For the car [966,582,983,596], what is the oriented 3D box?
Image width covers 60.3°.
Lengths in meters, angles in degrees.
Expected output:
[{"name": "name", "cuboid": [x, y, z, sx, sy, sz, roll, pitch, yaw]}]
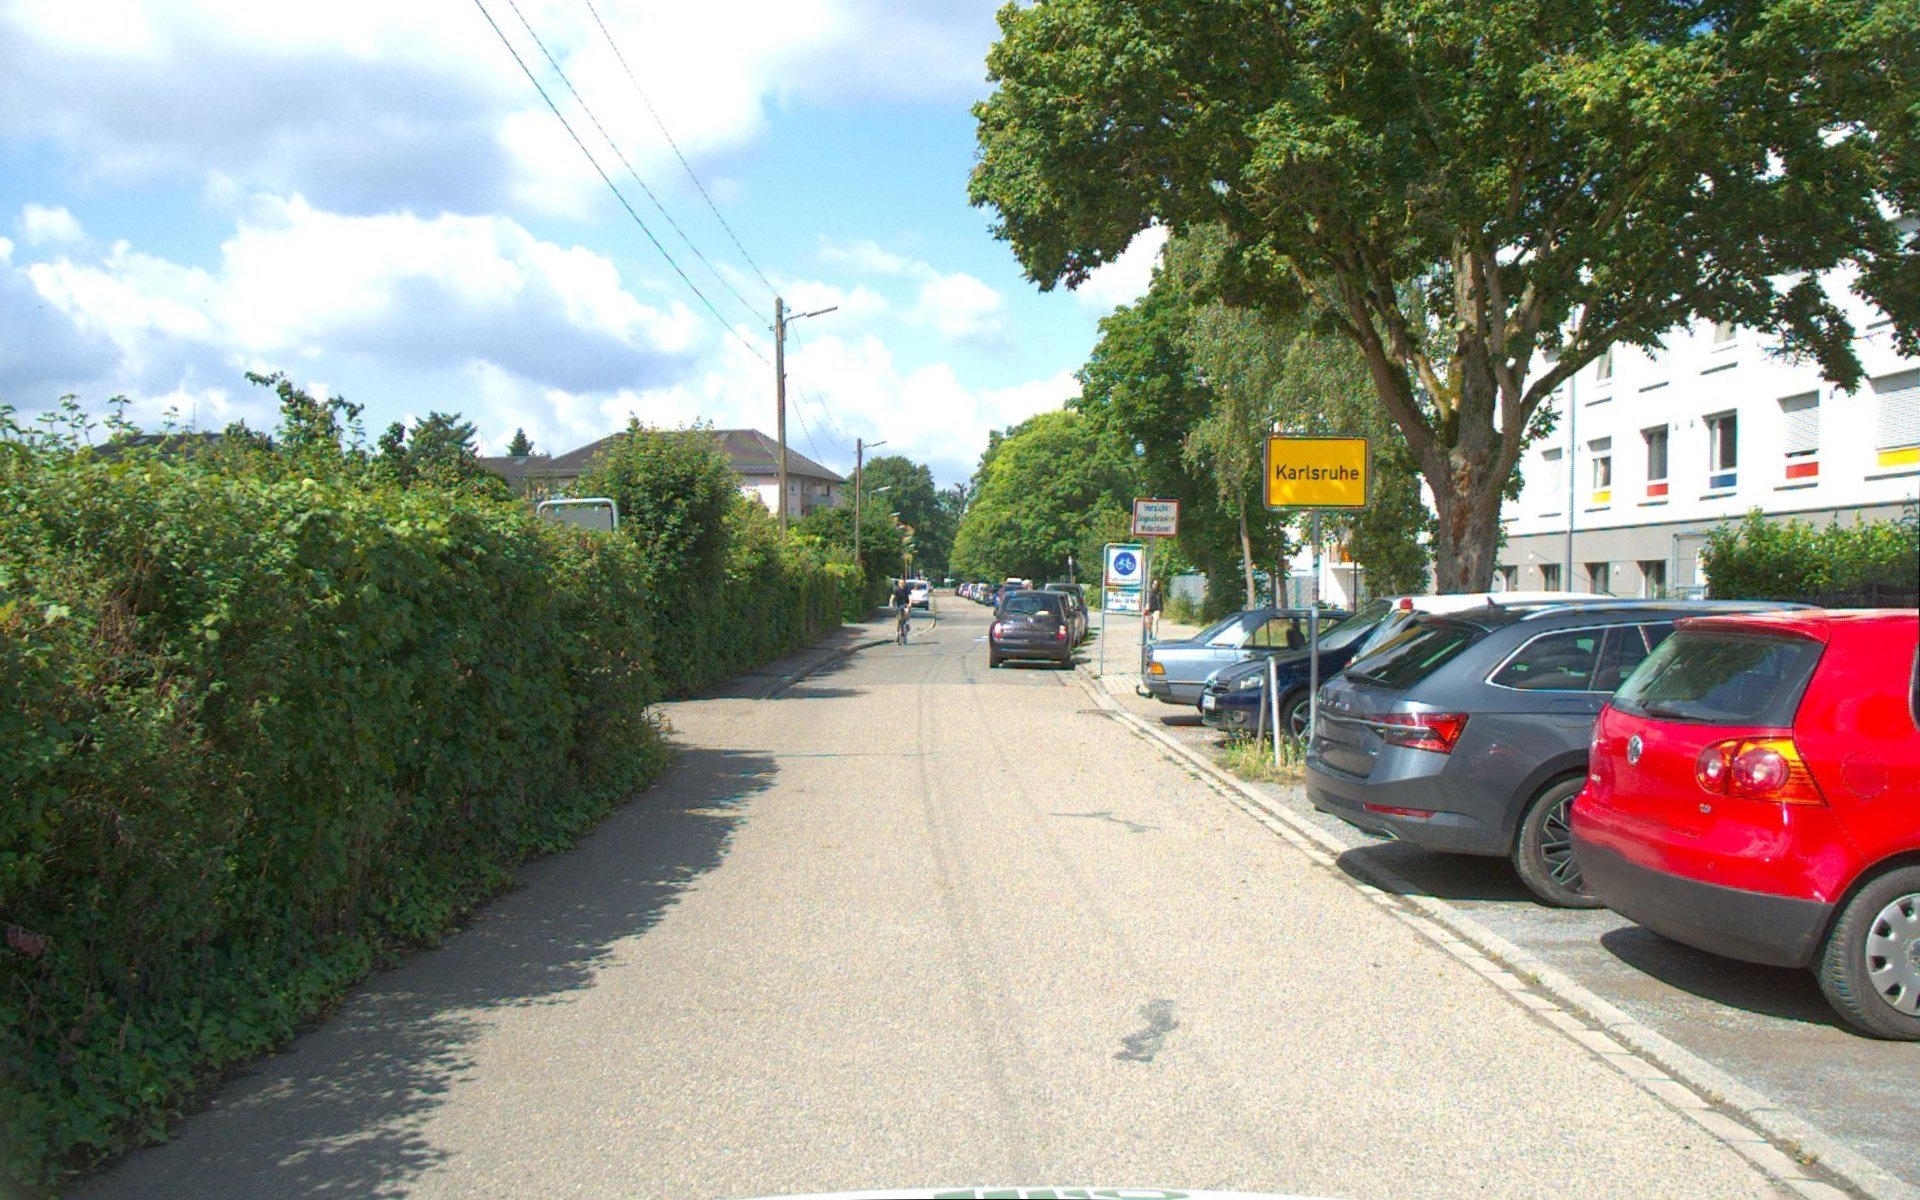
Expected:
[{"name": "car", "cuboid": [1.714, -1.289, 196.465, 1.813, 1.646, 4.002, 2, 0, 4]}]

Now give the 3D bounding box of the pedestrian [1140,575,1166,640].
[{"name": "pedestrian", "cuboid": [5.383, 0.194, 46.020, 0.597, 1.776, 0.722, 2, 0, 12]}]

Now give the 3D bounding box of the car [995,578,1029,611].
[{"name": "car", "cuboid": [3.207, -0.344, 102.335, 2.015, 1.960, 4.542, 2, 0, 1]}]

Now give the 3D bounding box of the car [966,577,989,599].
[{"name": "car", "cuboid": [1.602, -1.089, 151.907, 2.015, 1.996, 4.542, 2, 0, 1]}]

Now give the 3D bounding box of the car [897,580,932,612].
[{"name": "car", "cuboid": [-2.782, -0.236, 102.029, 1.863, 1.846, 4.001, 2, 0, 1]}]

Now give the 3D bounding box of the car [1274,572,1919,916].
[{"name": "car", "cuboid": [4.141, 0.731, 9.009, 4.457, 1.606, 1.808, 2, 0, -3]}]

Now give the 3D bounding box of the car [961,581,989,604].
[{"name": "car", "cuboid": [1.182, -0.560, 126.816, 2.015, 1.681, 4.542, 2, 0, 1]}]

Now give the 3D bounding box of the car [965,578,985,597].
[{"name": "car", "cuboid": [1.649, -1.365, 181.637, 1.953, 2.049, 3.999, 2, 0, -2]}]

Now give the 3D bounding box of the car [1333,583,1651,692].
[{"name": "car", "cuboid": [7.852, 0.539, 24.656, 4.155, 1.455, 1.758, -1, 0, -2]}]

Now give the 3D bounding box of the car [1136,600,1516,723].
[{"name": "car", "cuboid": [4.317, 0.717, 20.030, 4.267, 1.416, 1.719, 0, 0, 3]}]

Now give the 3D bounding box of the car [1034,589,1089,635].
[{"name": "car", "cuboid": [3.406, 0.383, 55.903, 1.629, 1.460, 3.541, 2, 0, 0]}]

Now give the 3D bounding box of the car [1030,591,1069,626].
[{"name": "car", "cuboid": [4.142, 0.391, 76.866, 1.644, 1.545, 4.001, 2, 0, 1]}]

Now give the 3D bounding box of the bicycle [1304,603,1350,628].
[{"name": "bicycle", "cuboid": [17.253, 0.725, 77.811, 2.004, 1.098, 0.688, -1, 0, 2]}]

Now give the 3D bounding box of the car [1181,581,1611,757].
[{"name": "car", "cuboid": [4.354, 0.666, 16.921, 3.854, 1.586, 1.867, 2, 0, -3]}]

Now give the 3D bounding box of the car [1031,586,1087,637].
[{"name": "car", "cuboid": [3.092, 0.342, 51.463, 1.628, 1.464, 3.746, 2, 0, 4]}]

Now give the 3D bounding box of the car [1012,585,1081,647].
[{"name": "car", "cuboid": [2.392, 0.411, 45.135, 1.628, 1.579, 3.640, 2, 0, 6]}]

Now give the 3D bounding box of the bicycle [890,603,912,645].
[{"name": "bicycle", "cuboid": [-1.698, 0.669, 47.765, 0.507, 1.170, 1.827, -1, 0, 1]}]

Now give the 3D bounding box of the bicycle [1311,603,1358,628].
[{"name": "bicycle", "cuboid": [17.262, 0.713, 76.302, 2.045, 1.139, 0.625, -1, 0, 3]}]

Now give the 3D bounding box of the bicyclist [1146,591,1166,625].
[{"name": "bicyclist", "cuboid": [10.676, 0.433, 89.983, 0.770, 1.817, 0.892, 2, 0, 31]}]

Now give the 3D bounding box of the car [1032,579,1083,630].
[{"name": "car", "cuboid": [3.746, 0.148, 63.260, 1.835, 1.837, 3.434, 2, 0, 4]}]

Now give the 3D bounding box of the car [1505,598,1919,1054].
[{"name": "car", "cuboid": [4.329, 0.772, 6.603, 3.732, 1.559, 1.761, 0, 0, -1]}]

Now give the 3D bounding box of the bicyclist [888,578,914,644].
[{"name": "bicyclist", "cuboid": [-1.702, 0.315, 47.692, 0.645, 1.884, 1.043, -1, 0, 1]}]

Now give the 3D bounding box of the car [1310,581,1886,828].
[{"name": "car", "cuboid": [4.509, 0.710, 12.004, 3.503, 1.576, 1.665, 2, 0, -4]}]

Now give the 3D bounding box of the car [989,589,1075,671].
[{"name": "car", "cuboid": [1.518, 0.579, 33.891, 1.628, 1.532, 4.002, 2, 0, 4]}]
